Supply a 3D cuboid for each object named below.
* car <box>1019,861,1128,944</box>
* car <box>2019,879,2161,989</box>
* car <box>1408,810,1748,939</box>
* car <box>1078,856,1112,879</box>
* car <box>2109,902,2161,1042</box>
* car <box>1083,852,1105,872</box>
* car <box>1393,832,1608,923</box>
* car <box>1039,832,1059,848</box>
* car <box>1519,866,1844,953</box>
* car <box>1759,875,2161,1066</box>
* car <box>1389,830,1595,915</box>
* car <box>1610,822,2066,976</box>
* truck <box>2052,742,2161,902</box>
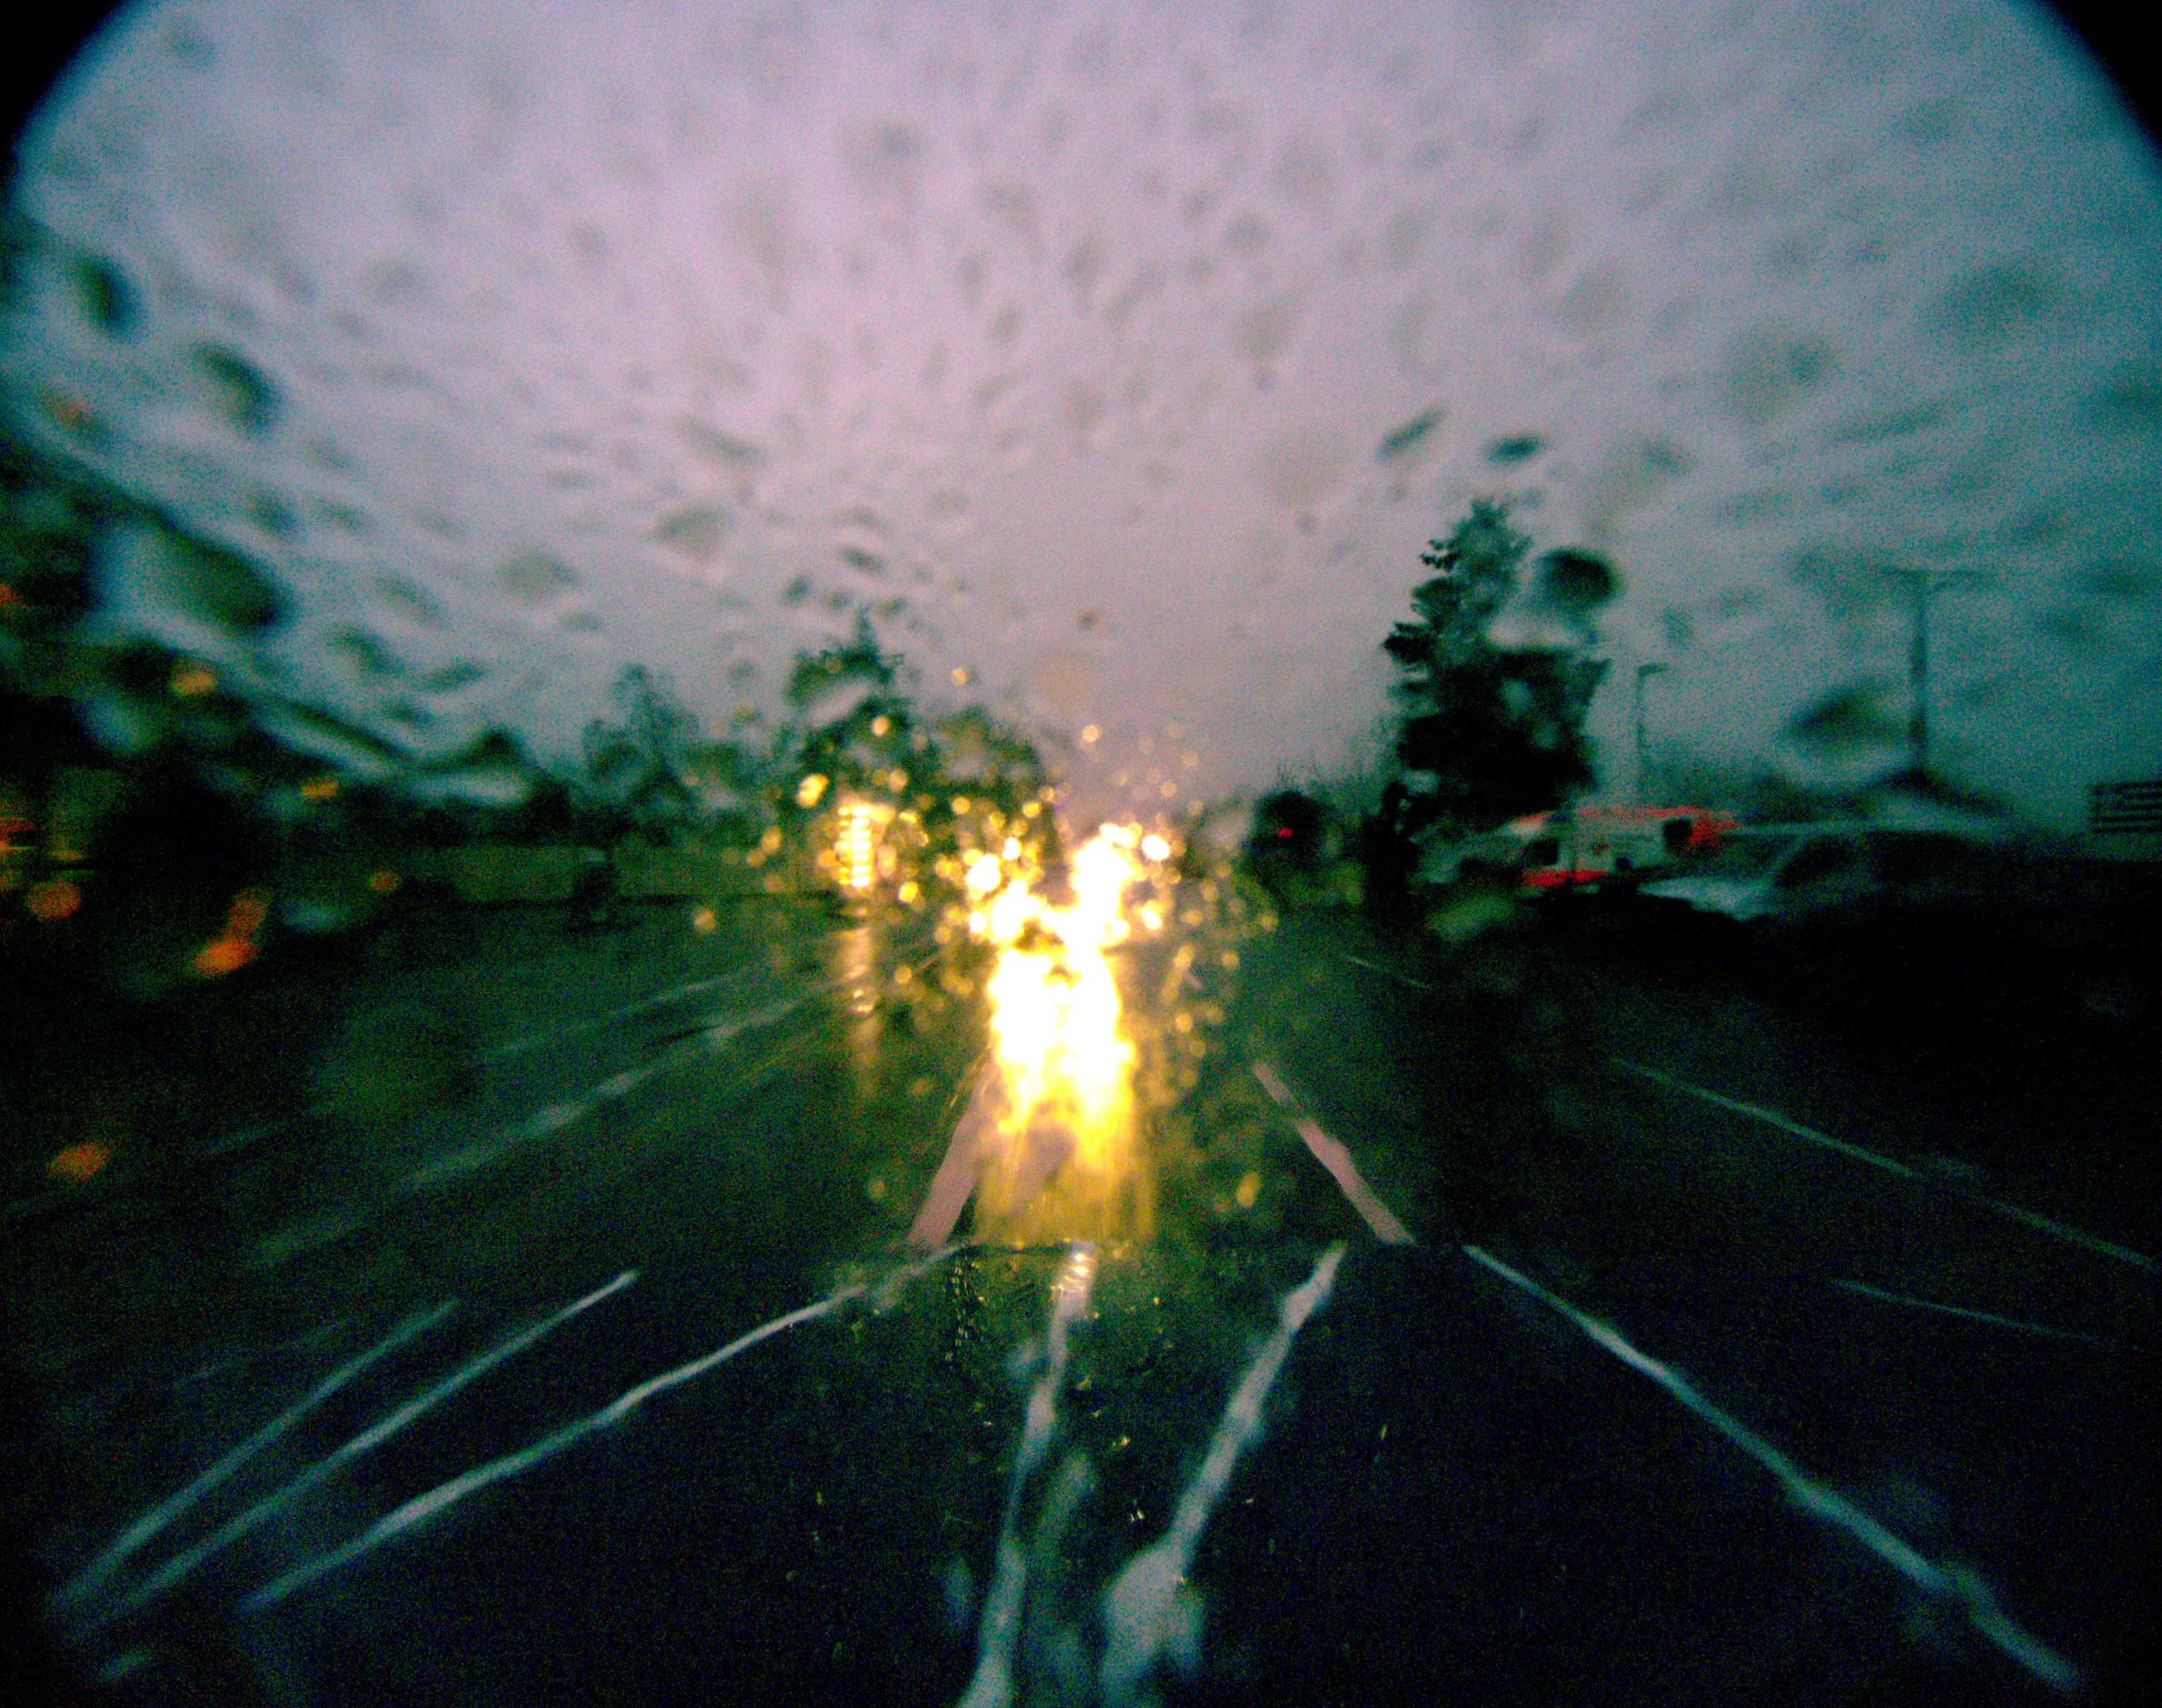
[{"bbox_3d":[-0.265,0.929,16.313,2.016,1.484,3.998,-1,0,-4],"label":"car"},{"bbox_3d":[15.523,1.032,10.110,3.998,1.374,1.841,0,-1,-3],"label":"car"},{"bbox_3d":[10.950,0.430,17.125,6.171,2.617,2.176,1,0,1],"label":"car"},{"bbox_3d":[0.909,0.883,52.149,2.016,1.484,3.998,-1,0,-4],"label":"car"},{"bbox_3d":[12.151,1.140,7.094,3.312,1.320,1.480,-1,1,-4],"label":"car"},{"bbox_3d":[1.181,0.699,68.170,1.933,1.701,4.000,-1,0,1],"label":"car"},{"bbox_3d":[11.225,0.602,20.573,4.678,2.259,1.987,1,0,0],"label":"car"},{"bbox_3d":[-3.424,-1.495,81.975,1.889,1.618,4.000,-2,0,1],"label":"car"},{"bbox_3d":[11.506,1.023,14.835,4.761,1.474,1.955,1,0,1],"label":"car"},{"bbox_3d":[8.920,0.913,7.228,1.655,1.411,3.743,0,-1,1],"label":"car"},{"bbox_3d":[12.339,0.539,23.063,5.115,2.376,2.080,1,0,-2],"label":"car"},{"bbox_3d":[11.771,0.660,12.135,5.158,2.137,2.058,1,0,1],"label":"car"},{"bbox_3d":[32.719,-1.008,21.320,8.715,4.237,3.004,-2,1,-10],"label":"truck"}]
